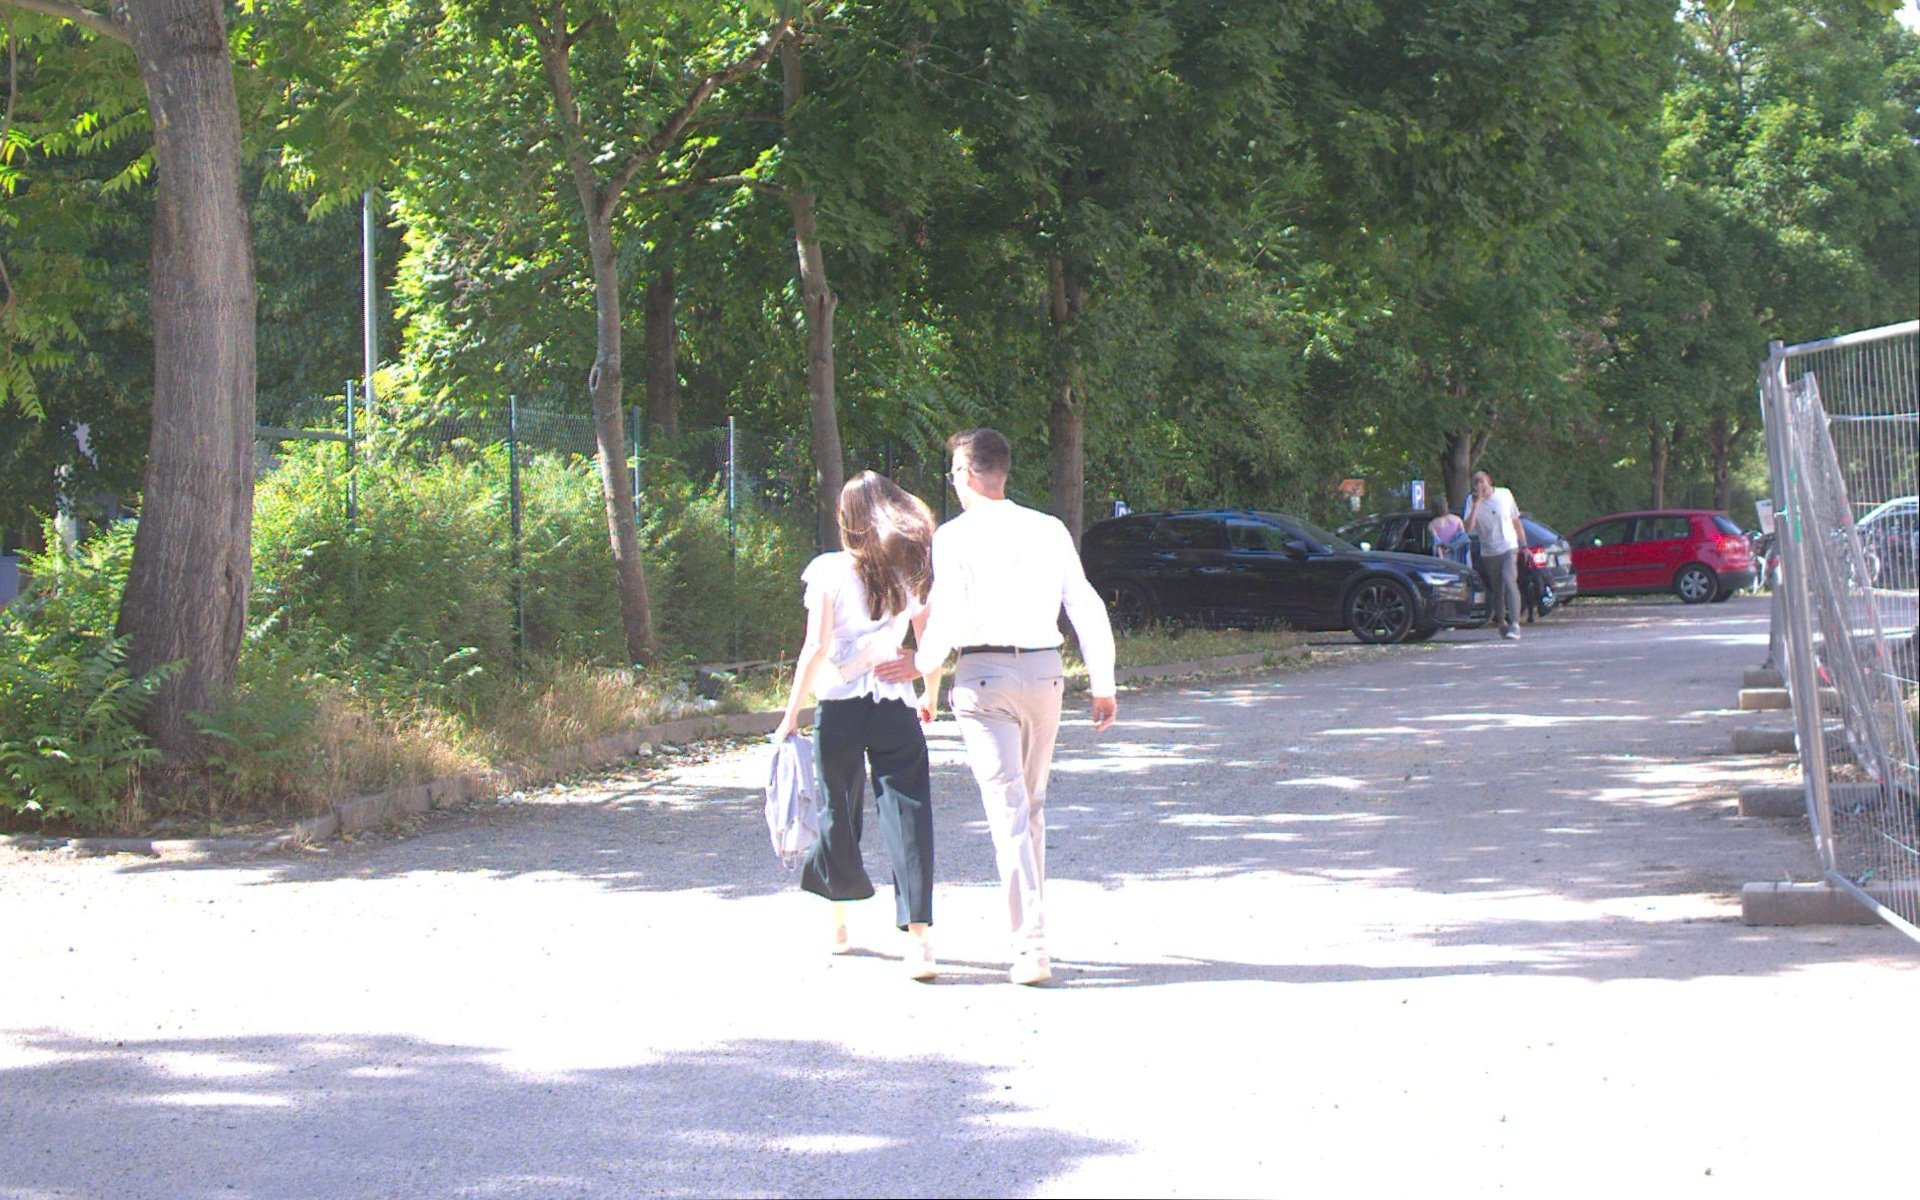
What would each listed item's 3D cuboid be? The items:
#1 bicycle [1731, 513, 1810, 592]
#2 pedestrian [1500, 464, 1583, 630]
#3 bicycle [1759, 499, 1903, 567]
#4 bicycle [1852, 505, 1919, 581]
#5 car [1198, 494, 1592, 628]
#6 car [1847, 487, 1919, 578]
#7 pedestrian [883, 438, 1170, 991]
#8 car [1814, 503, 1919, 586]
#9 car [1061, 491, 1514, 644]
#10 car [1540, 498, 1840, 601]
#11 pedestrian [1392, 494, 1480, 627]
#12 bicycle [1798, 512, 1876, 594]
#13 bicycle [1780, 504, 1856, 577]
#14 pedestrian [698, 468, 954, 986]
[{"bbox_3d":[13.675,-0.818,57.950,0.715,1.280,2.787,0,2,25],"label":"bicycle"},{"bbox_3d":[6.322,-0.579,37.350,0.817,1.775,1.016,-1,1,12],"label":"pedestrian"},{"bbox_3d":[17.210,-1.324,67.903,2.678,1.280,0.818,-1,1,20],"label":"bicycle"},{"bbox_3d":[16.347,-1.017,60.633,0.715,1.280,2.634,0,1,25],"label":"bicycle"},{"bbox_3d":[5.529,-0.498,43.538,4.660,1.579,1.999,0,2,17],"label":"car"},{"bbox_3d":[22.084,-1.528,76.974,3.993,2.006,1.765,0,2,28],"label":"car"},{"bbox_3d":[0.203,0.344,11.258,0.755,1.722,0.854,-1,2,-10],"label":"pedestrian"},{"bbox_3d":[20.700,-1.214,74.324,3.993,1.765,1.765,0,2,28],"label":"car"},{"bbox_3d":[3.634,-0.362,37.938,4.660,1.579,1.999,0,2,17],"label":"car"},{"bbox_3d":[11.451,-0.797,53.941,4.291,1.519,1.890,0,2,24],"label":"car"},{"bbox_3d":[5.812,-0.482,41.920,0.925,1.589,0.785,0,2,17],"label":"pedestrian"},{"bbox_3d":[14.342,-0.784,56.184,0.715,1.280,2.680,0,1,25],"label":"bicycle"},{"bbox_3d":[15.578,-1.091,62.377,0.817,1.280,2.680,0,1,25],"label":"bicycle"},{"bbox_3d":[-0.454,0.388,11.357,0.735,1.634,0.781,-1,2,-8],"label":"pedestrian"}]
